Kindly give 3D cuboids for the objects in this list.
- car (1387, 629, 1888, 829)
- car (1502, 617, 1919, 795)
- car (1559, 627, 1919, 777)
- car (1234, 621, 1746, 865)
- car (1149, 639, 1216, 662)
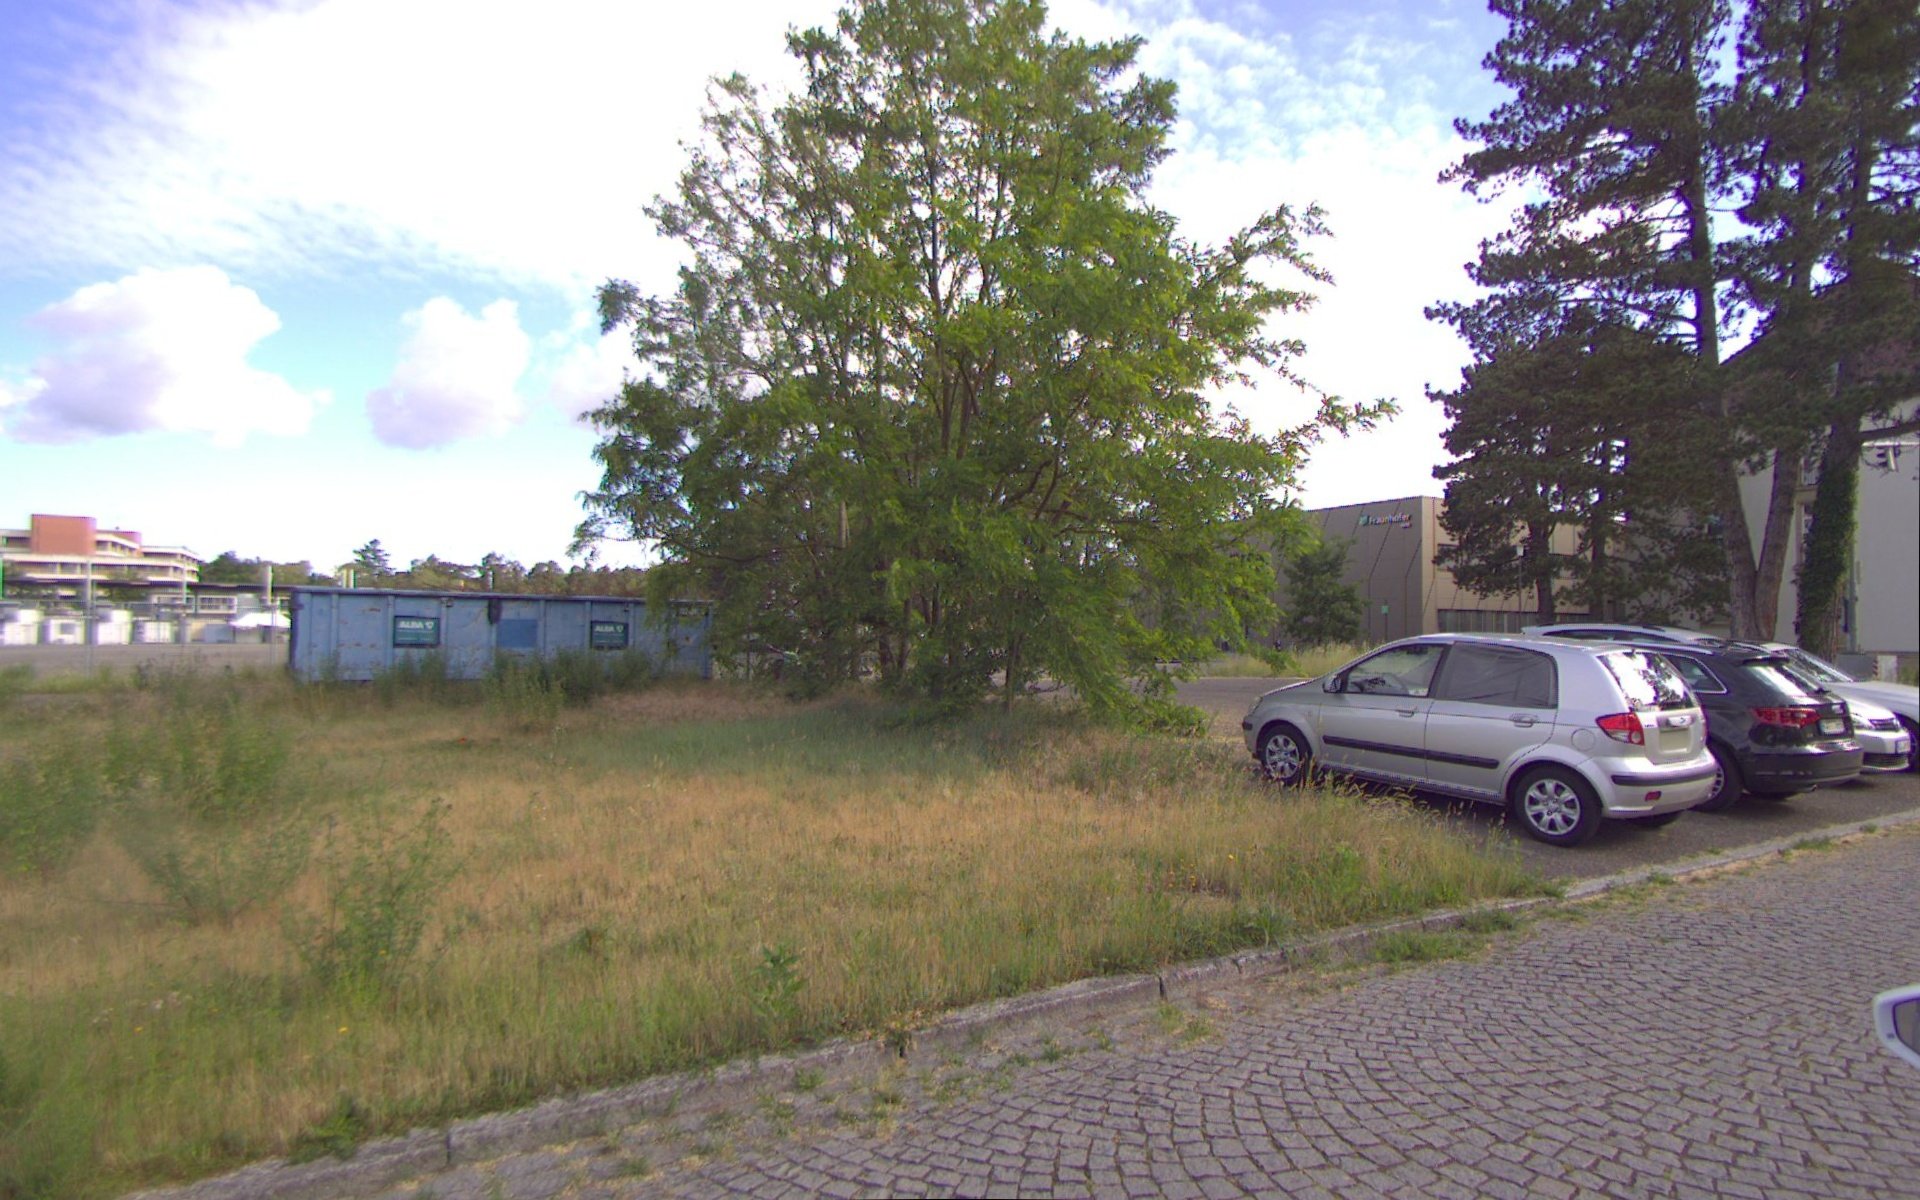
[{"bbox_3d":[6.495,1.095,10.078,1.676,1.427,3.816,1,0,-31],"label":"car"},{"bbox_3d":[8.787,1.085,11.884,1.717,1.628,3.809,1,0,-33],"label":"car"},{"bbox_3d":[10.684,1.227,13.215,1.811,1.461,4.450,2,1,-33],"label":"car"},{"bbox_3d":[4.306,1.013,8.672,1.629,1.495,3.556,2,0,-32],"label":"car"},{"bbox_3d":[14.262,3.221,64.325,4.079,1.433,1.752,1,-2,-28],"label":"car"}]
